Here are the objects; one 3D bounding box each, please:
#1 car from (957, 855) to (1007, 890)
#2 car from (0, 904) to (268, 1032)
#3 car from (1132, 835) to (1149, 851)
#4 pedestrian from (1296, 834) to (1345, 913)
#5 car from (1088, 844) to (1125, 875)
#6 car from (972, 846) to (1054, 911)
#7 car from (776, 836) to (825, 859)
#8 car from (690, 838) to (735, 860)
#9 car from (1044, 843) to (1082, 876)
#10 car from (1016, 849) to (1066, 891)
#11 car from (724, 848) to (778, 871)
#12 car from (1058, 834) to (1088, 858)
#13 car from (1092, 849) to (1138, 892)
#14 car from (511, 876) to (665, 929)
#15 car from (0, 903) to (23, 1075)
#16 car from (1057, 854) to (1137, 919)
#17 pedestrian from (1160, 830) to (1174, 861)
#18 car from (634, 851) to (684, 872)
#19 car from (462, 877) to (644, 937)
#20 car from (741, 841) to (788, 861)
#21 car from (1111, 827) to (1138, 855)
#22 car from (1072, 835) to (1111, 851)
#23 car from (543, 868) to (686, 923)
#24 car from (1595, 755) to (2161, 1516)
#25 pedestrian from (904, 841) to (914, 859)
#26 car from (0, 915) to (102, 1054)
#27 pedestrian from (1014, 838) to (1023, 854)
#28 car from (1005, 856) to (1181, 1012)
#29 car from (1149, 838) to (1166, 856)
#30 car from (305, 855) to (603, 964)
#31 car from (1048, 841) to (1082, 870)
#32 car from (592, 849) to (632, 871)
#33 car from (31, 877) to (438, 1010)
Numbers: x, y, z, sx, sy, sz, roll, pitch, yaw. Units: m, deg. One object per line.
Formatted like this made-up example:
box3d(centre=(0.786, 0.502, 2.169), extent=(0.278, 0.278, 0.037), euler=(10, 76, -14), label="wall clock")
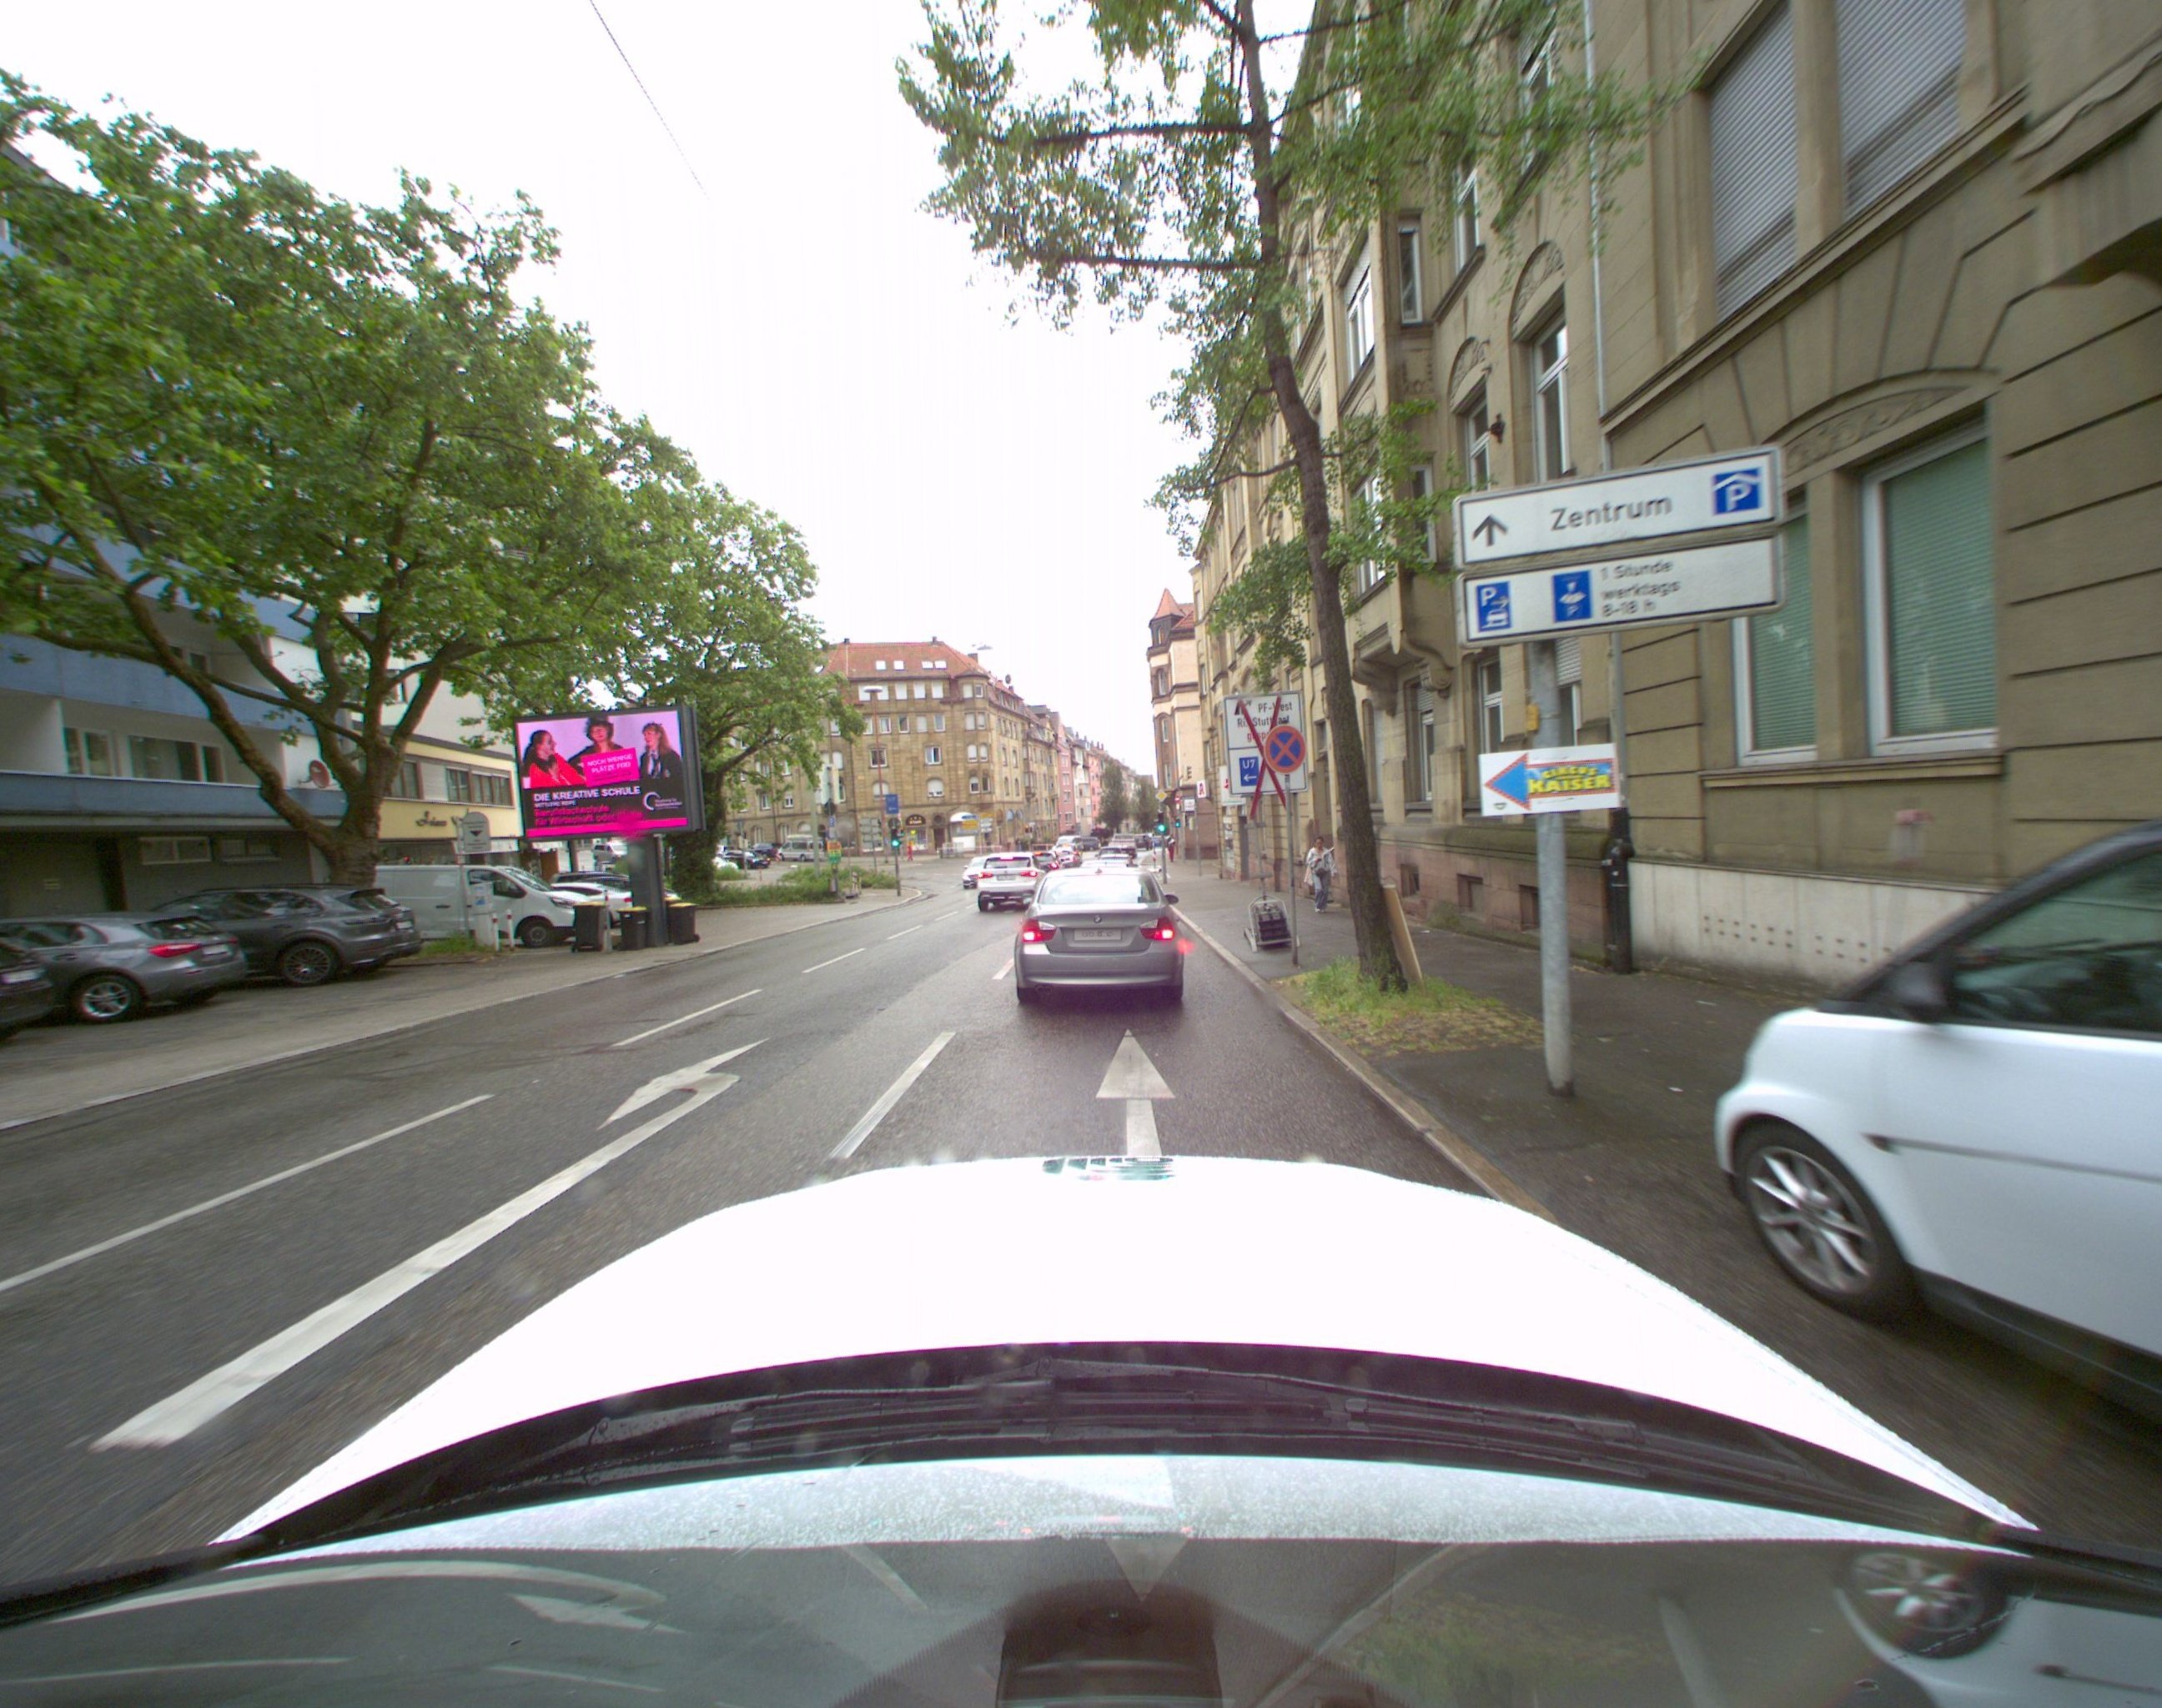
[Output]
box3d(centre=(-5.011, 0.920, 41.846), extent=(1.731, 1.526, 4.473), euler=(-6, 0, 2), label="car")
box3d(centre=(-14.021, 1.543, 10.961), extent=(3.939, 1.430, 1.734), euler=(-2, 0, -23), label="car")
box3d(centre=(6.055, -1.108, 82.978), extent=(1.717, 1.552, 4.004), euler=(0, -1, 4), label="car")
box3d(centre=(4.872, 0.396, 16.599), extent=(0.629, 1.508, 0.693), euler=(-7, 0, 1), label="pedestrian")
box3d(centre=(1.431, 0.272, 44.509), extent=(1.751, 1.567, 4.005), euler=(-2, 0, 4), label="car")
box3d(centre=(-1.938, 0.653, 24.384), extent=(1.861, 1.625, 4.002), euler=(-4, 1, 2), label="car")
box3d(centre=(-26.400, -0.662, 76.656), extent=(4.237, 2.101, 2.013), euler=(0, 2, 30), label="car")
box3d(centre=(-37.279, -0.499, 82.450), extent=(4.237, 2.101, 2.013), euler=(0, 2, 30), label="car")
box3d(centre=(-0.989, 0.286, 46.275), extent=(1.752, 1.707, 4.004), euler=(-2, 0, 3), label="car")
box3d(centre=(-1.702, 0.654, 36.207), extent=(1.752, 1.707, 4.004), euler=(-2, 0, 3), label="car")
box3d(centre=(-26.904, 0.427, 66.389), extent=(4.194, 1.726, 2.013), euler=(-1, 2, 33), label="car")
box3d(centre=(-0.663, -0.729, 71.403), extent=(1.751, 1.925, 4.335), euler=(-3, 0, 10), label="car")
box3d(centre=(1.345, 0.581, 30.945), extent=(1.588, 1.464, 4.004), euler=(-2, 0, 3), label="car")
box3d(centre=(-16.138, 1.546, 26.891), extent=(3.984, 1.450, 1.758), euler=(-2, 0, -19), label="car")
box3d(centre=(-12.406, 1.438, 6.535), extent=(4.381, 1.672, 1.842), euler=(-4, 0, -21), label="car")
box3d(centre=(0.474, 0.734, 20.260), extent=(1.752, 1.383, 4.004), euler=(-2, 0, 3), label="car")
box3d(centre=(5.547, -0.551, 52.509), extent=(0.739, 1.910, 0.659), euler=(-3, 0, 1), label="pedestrian")
box3d(centre=(-37.814, 0.661, 72.952), extent=(4.195, 1.726, 2.013), euler=(-1, 3, 31), label="car")
box3d(centre=(-15.555, 1.521, 24.265), extent=(4.183, 1.456, 1.783), euler=(-2, 0, -19), label="car")
box3d(centre=(-30.708, -0.346, 79.076), extent=(4.237, 1.838, 2.013), euler=(0, 2, 30), label="car")
box3d(centre=(3.400, -0.978, 64.201), extent=(1.986, 2.106, 4.002), euler=(-1, 0, 2), label="car")
box3d(centre=(1.433, -1.453, 109.465), extent=(5.157, 2.014, 2.699), euler=(0, -1, 1), label="car")
box3d(centre=(-16.634, 1.441, 29.274), extent=(4.138, 1.653, 1.757), euler=(-2, 0, -21), label="car")
box3d(centre=(2.819, 0.539, 1.883), extent=(1.294, 1.543, 2.977), euler=(-7, 0, 2), label="car")
box3d(centre=(-15.445, -0.391, 73.142), extent=(0.532, 1.577, 0.723), euler=(-3, 0, 18), label="pedestrian")
box3d(centre=(-13.831, 1.544, 8.651), extent=(3.998, 1.430, 1.685), euler=(-2, 0, -23), label="car")
box3d(centre=(-6.187, -0.786, 80.381), extent=(0.727, 1.577, 0.530), euler=(-3, 0, 11), label="pedestrian")
box3d(centre=(0.217, 0.759, 9.446), extent=(1.616, 1.383, 3.618), euler=(-2, 0, 3), label="car")
box3d(centre=(8.844, -0.837, 94.114), extent=(1.715, 2.014, 4.009), euler=(0, -1, 8), label="car")
box3d(centre=(-14.396, 1.203, 19.119), extent=(5.075, 2.105, 1.980), euler=(-2, 0, -19), label="car")
box3d(centre=(-0.976, 0.083, 51.660), extent=(1.752, 1.707, 4.004), euler=(-2, 0, 3), label="car")
box3d(centre=(-44.204, 0.557, 76.720), extent=(3.948, 2.013, 1.587), euler=(-2, 0, 34), label="car")
box3d(centre=(-14.109, 1.396, 13.965), extent=(4.369, 1.784, 1.927), euler=(-2, 0, -19), label="car")
